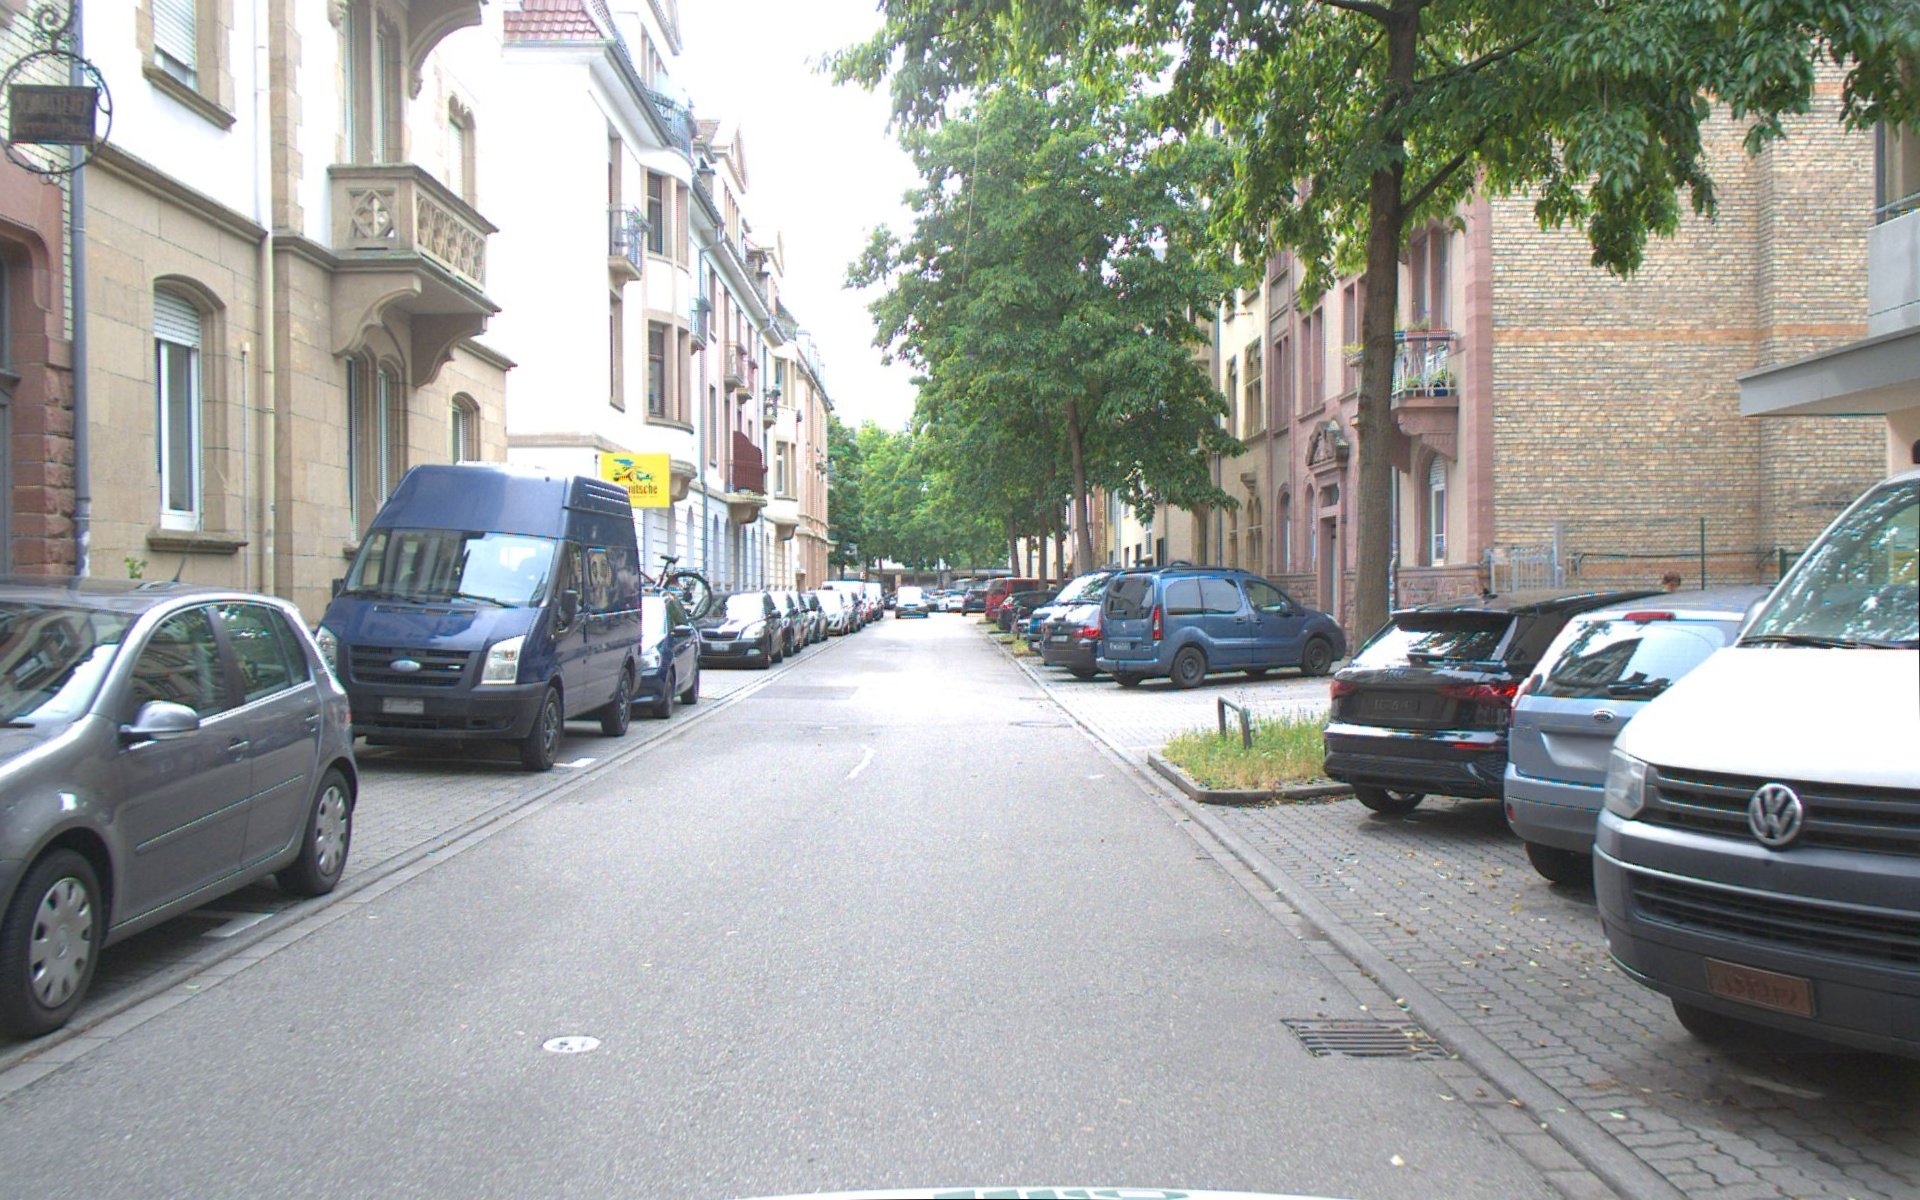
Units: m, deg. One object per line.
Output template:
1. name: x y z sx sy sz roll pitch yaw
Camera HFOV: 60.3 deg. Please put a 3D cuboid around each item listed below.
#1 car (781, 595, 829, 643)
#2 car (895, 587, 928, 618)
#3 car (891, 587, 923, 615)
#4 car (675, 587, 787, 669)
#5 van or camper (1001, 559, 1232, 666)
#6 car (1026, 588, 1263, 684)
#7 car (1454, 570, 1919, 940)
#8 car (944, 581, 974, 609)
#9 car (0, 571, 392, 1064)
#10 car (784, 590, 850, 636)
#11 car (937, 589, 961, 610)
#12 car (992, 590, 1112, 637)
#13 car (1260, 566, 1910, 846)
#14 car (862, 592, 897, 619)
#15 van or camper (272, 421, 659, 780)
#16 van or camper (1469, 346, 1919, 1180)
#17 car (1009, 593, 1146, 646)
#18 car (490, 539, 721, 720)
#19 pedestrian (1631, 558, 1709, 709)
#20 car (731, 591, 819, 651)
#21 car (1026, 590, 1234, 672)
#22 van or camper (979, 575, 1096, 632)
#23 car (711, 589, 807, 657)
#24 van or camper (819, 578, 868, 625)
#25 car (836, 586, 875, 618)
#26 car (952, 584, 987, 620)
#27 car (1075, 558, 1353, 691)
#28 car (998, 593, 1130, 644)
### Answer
1. car: -4.507 0.532 48.319 1.185 1.332 3.259 0 0 -1
2. car: -2.763 0.156 94.445 1.784 1.674 3.752 1 -1 -1
3. car: -3.324 0.048 104.812 1.868 1.707 4.000 0 0 1
4. car: -4.476 0.517 32.810 1.753 1.506 4.021 0 0 -2
5. van or camper: 3.389 0.245 35.602 4.728 2.175 2.033 0 0 -32
6. car: 3.331 0.601 29.753 3.971 1.587 1.864 -1 0 -32
7. car: 4.335 0.616 8.444 3.382 1.466 1.652 -3 0 -33
8. car: -0.107 -0.345 114.711 1.953 1.825 3.998 1 -1 -1
9. car: -3.744 0.645 6.539 1.634 1.499 3.999 1 0 -1
10. car: -4.785 0.412 55.809 1.953 1.501 3.999 0 0 -1
11. car: -0.904 -0.041 133.076 1.832 1.657 3.999 0 0 -1
12. car: 2.978 0.436 53.811 3.688 1.490 1.727 0 0 -6
13. car: 4.303 0.588 11.233 4.258 1.417 1.903 -3 1 -31
14. car: -4.322 0.269 88.939 1.749 1.398 3.887 0 0 -1
15. van or camper: -4.293 -0.006 15.404 1.967 2.698 5.315 2 0 -1
16. van or camper: 4.220 0.340 5.495 4.671 2.029 1.984 -2 -2 -26
17. car: 3.280 0.534 46.507 3.638 1.433 1.573 -1 0 -6
18. car: -4.373 0.323 21.195 1.953 2.049 4.890 0 0 -1
19. pedestrian: 7.473 0.345 17.421 0.565 1.567 0.580 0 0 -2
20. car: -4.836 0.511 43.613 1.908 1.427 3.999 2 0 -1
21. car: 3.398 0.576 32.888 3.820 1.525 1.784 -1 0 -30
22. van or camper: 2.981 0.108 63.460 4.101 2.122 1.934 0 0 -29
23. car: -4.641 0.499 38.662 1.792 1.451 3.800 2 0 -1
24. van or camper: -5.058 0.058 72.304 1.843 2.002 4.407 0 0 -1
25. car: -5.333 0.087 84.914 1.750 1.480 3.887 -4 0 -1
26. car: 0.565 0.118 100.157 1.953 2.049 3.999 2 0 -1
27. car: 4.151 0.368 26.940 4.130 1.902 1.979 -3 0 -31
28. car: 3.073 0.528 49.196 3.688 1.490 1.727 0 0 -6
